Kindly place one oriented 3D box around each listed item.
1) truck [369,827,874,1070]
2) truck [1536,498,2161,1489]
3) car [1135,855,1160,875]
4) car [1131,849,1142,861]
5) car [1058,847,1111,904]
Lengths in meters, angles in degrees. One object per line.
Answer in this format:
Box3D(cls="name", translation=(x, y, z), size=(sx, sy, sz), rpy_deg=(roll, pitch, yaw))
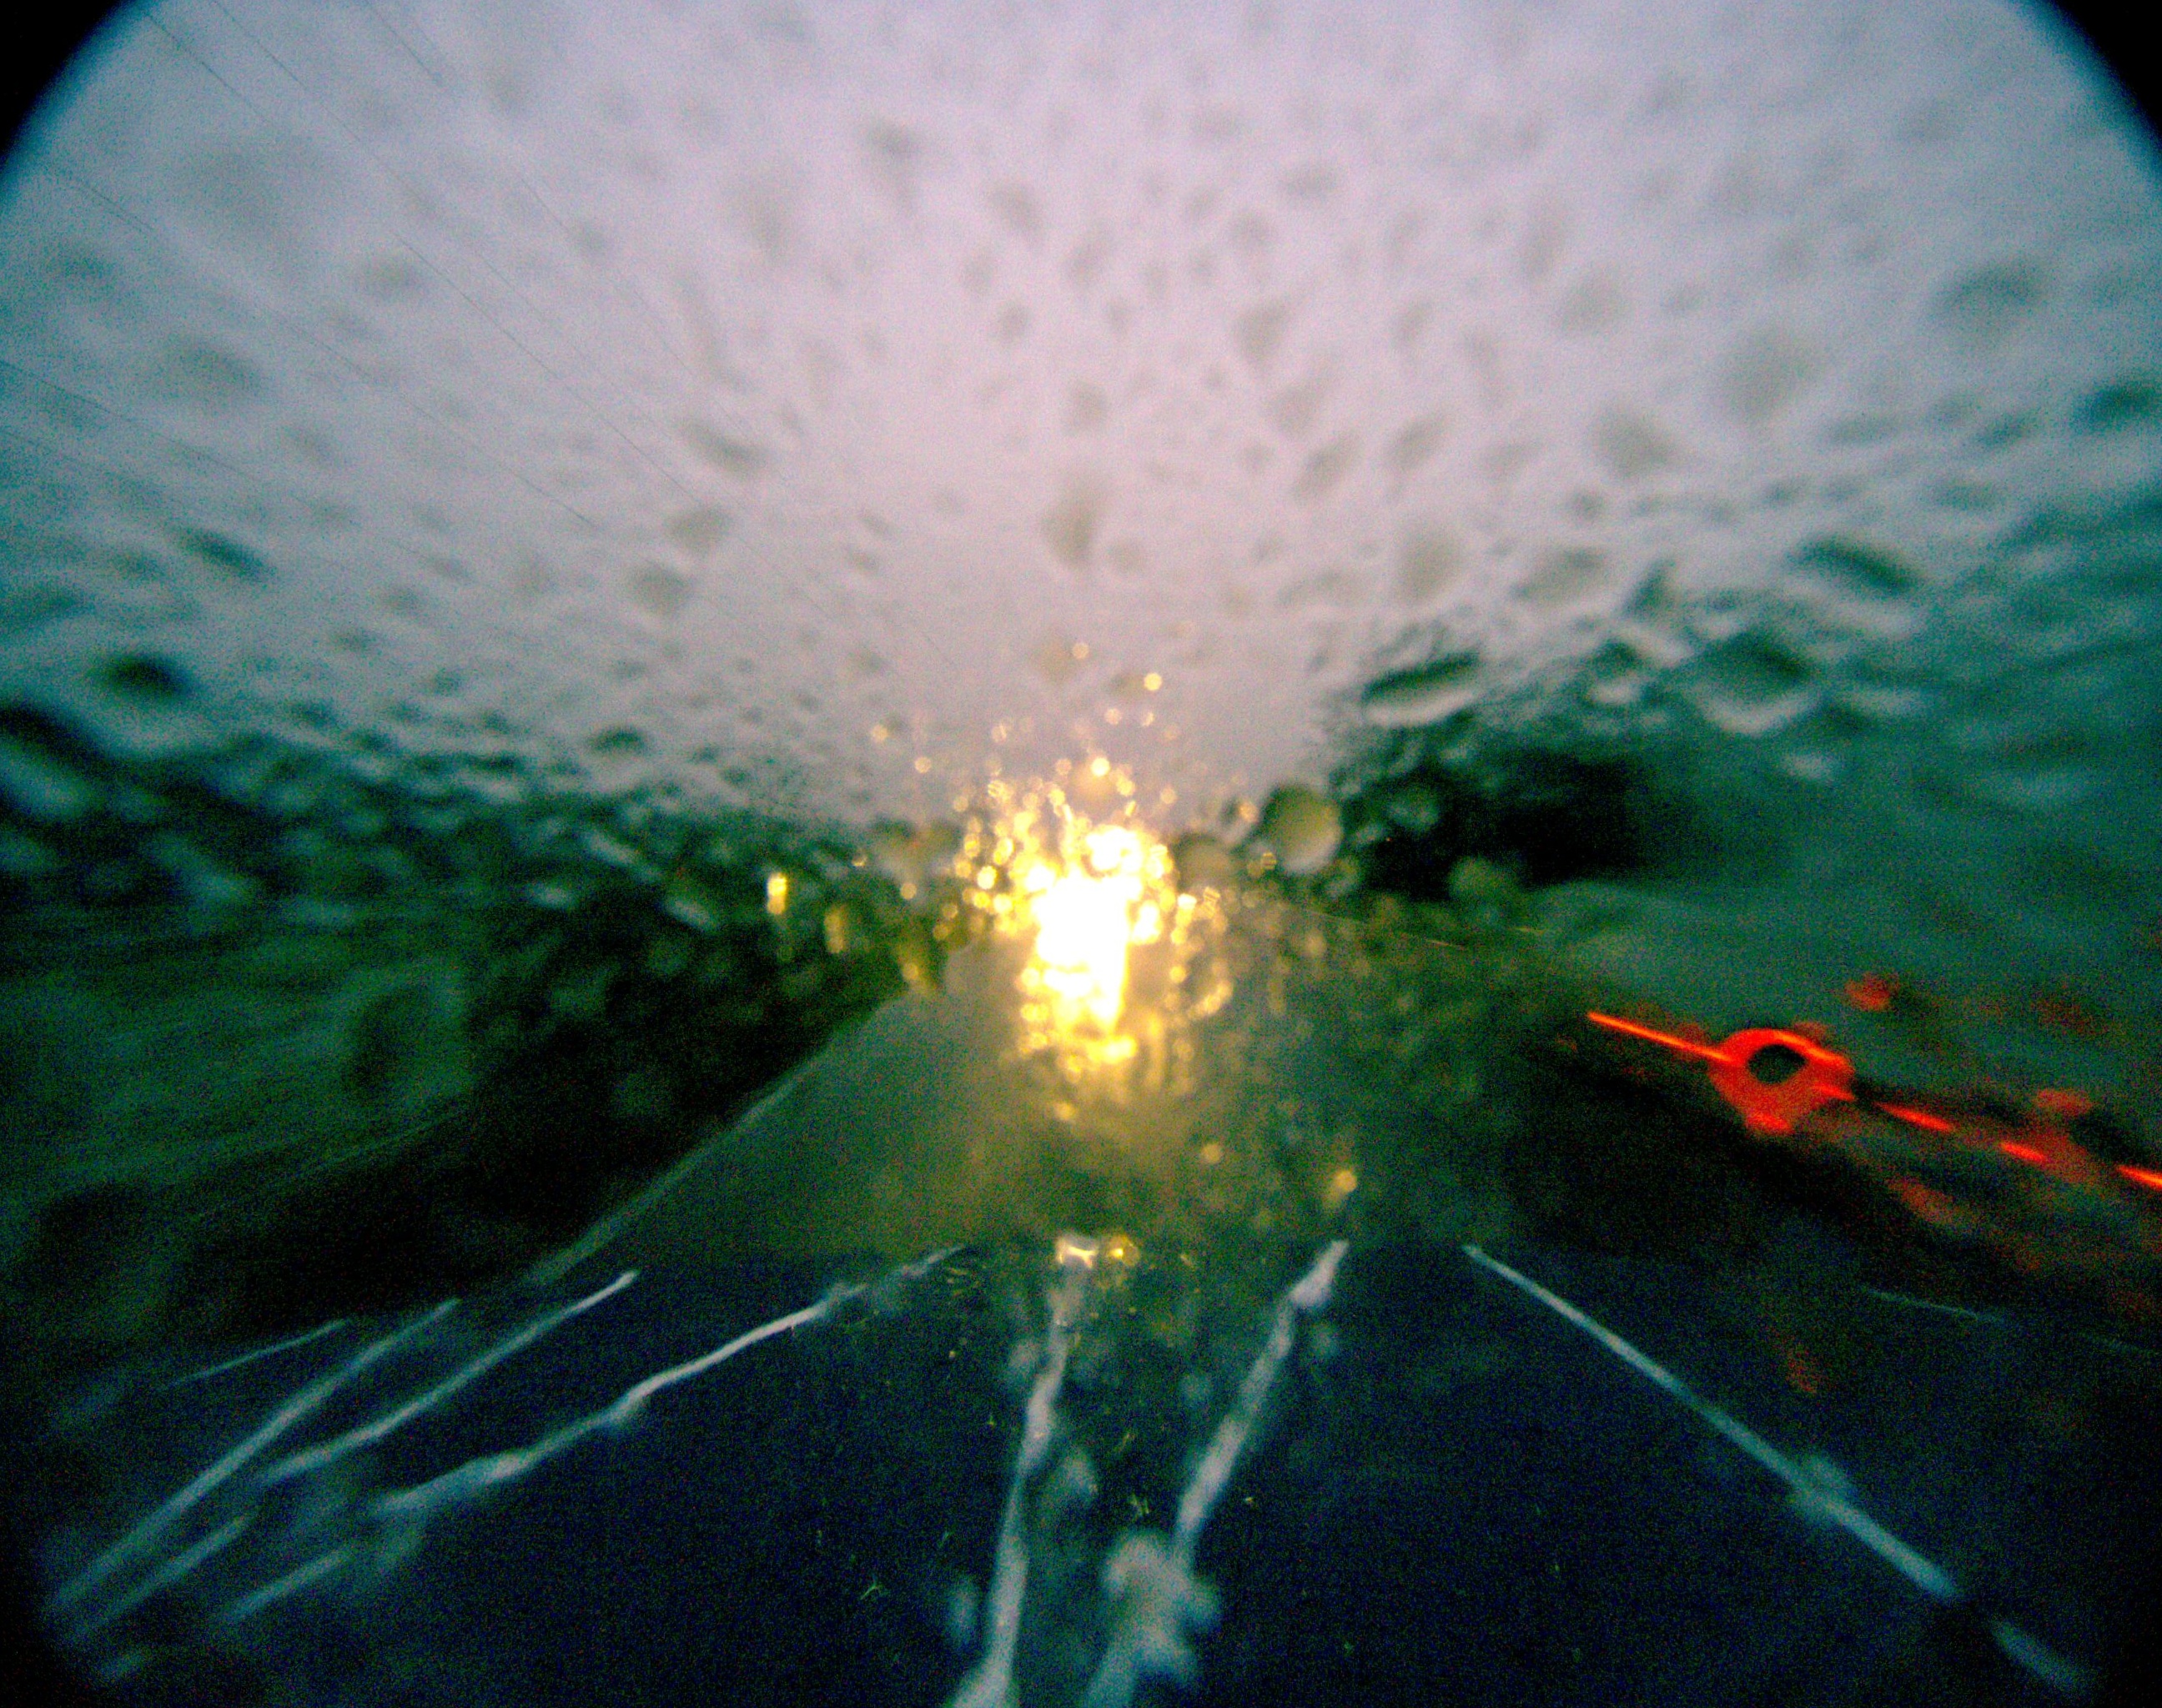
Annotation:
Box3D(cls="truck", translation=(-6.461, 1.000, 13.666), size=(2.510, 2.556, 10.804), rpy_deg=(-2, 0, -1))
Box3D(cls="truck", translation=(3.782, 0.324, 1.727), size=(2.244, 2.453, 5.373), rpy_deg=(-2, 0, 0))
Box3D(cls="car", translation=(5.324, 0.823, 60.917), size=(1.692, 1.498, 4.413), rpy_deg=(-2, 0, 2))
Box3D(cls="car", translation=(12.021, 0.206, 164.552), size=(1.957, 2.659, 6.272), rpy_deg=(-2, 0, 2))
Box3D(cls="car", translation=(0.186, 0.748, 29.479), size=(1.857, 2.002, 4.000), rpy_deg=(-2, 0, 2))
